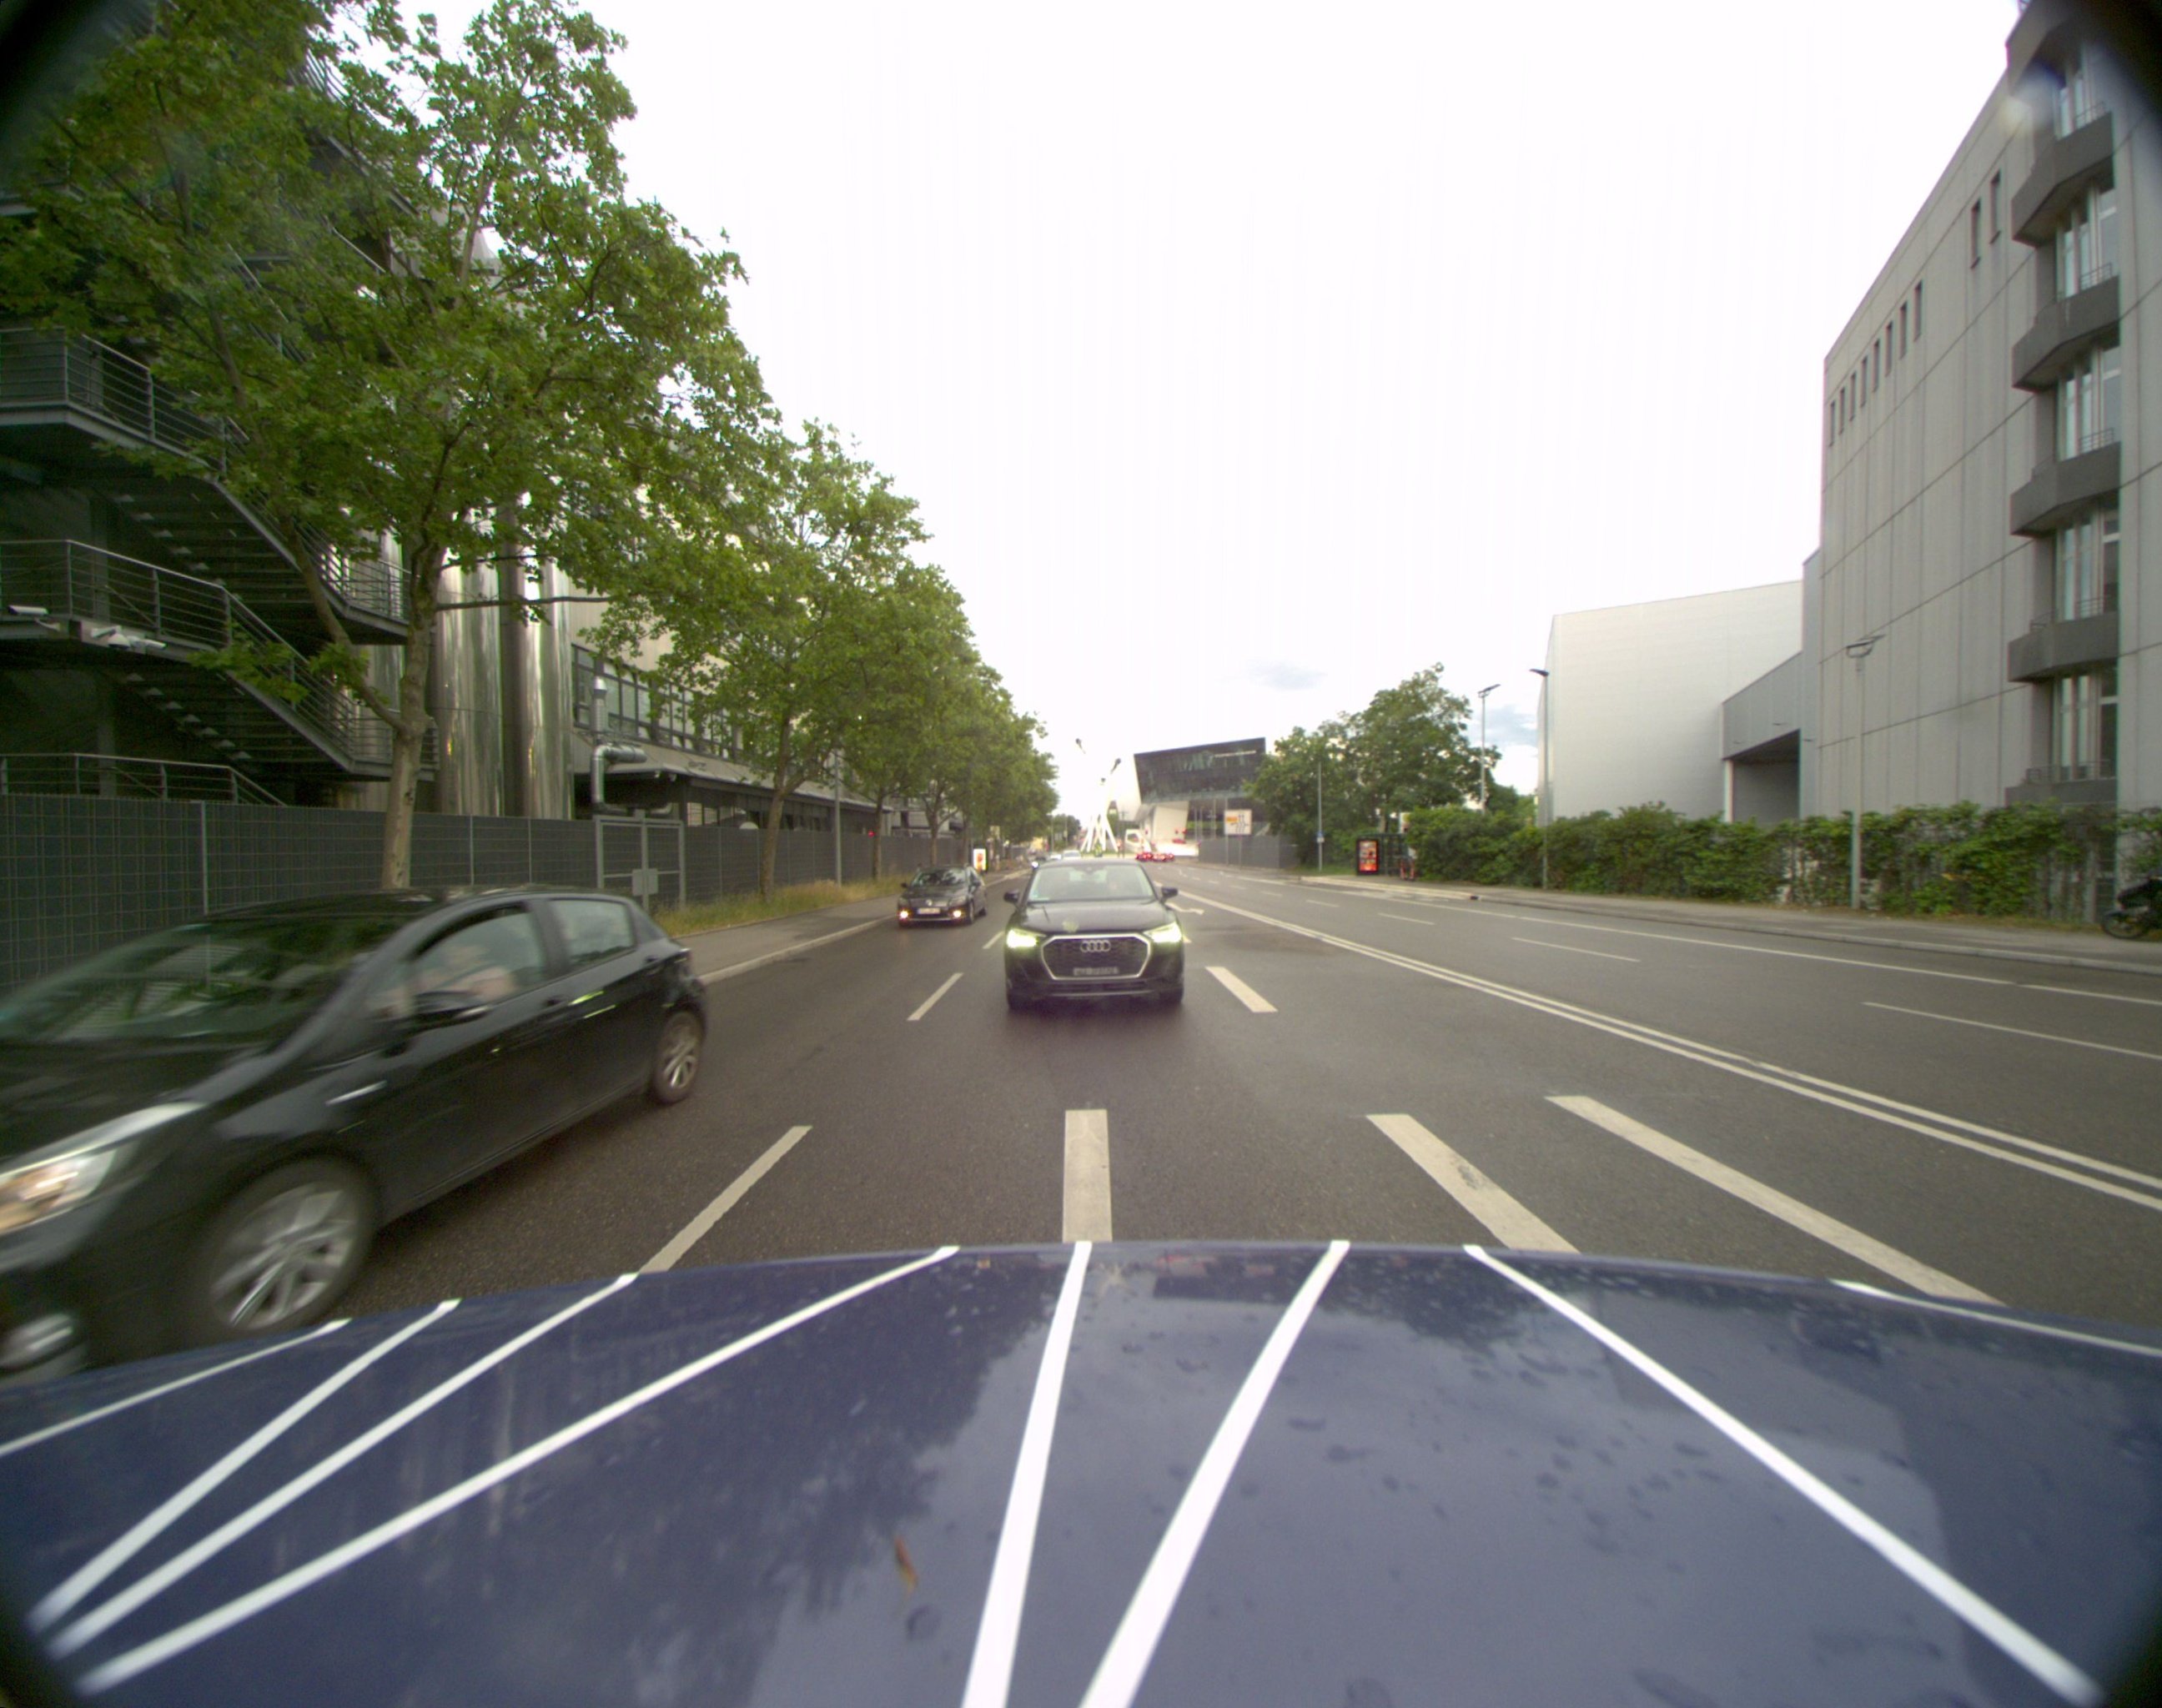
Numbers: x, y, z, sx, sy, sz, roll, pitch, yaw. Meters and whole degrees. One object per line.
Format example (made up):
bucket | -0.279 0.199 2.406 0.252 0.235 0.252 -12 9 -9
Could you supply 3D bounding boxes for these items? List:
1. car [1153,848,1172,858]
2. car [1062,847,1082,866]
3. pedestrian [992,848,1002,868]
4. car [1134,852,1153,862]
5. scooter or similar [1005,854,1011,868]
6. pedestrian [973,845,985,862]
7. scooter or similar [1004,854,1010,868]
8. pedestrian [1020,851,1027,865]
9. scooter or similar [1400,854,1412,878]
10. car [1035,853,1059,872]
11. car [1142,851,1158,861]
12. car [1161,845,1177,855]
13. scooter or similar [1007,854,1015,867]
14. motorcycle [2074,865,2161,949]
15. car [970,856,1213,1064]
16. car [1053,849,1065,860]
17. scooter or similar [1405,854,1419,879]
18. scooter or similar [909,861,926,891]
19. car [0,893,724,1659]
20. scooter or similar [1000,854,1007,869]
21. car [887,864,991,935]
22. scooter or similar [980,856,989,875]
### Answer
car | 12.930 -0.134 120.861 2.267 1.469 4.052 0 1 18
car | -0.891 0.260 76.664 1.951 1.879 4.490 0 0 -1
pedestrian | -7.532 0.362 67.821 0.778 1.700 0.729 -1 1 -1
car | 10.109 0.464 122.653 2.255 1.469 3.884 0 1 18
scooter or similar | -7.064 0.683 73.660 0.437 1.288 1.300 -1 1 3
pedestrian | -8.603 -0.078 64.097 0.933 1.408 0.698 -1 1 -1
scooter or similar | -6.963 0.695 71.532 0.437 1.288 1.300 -1 1 3
pedestrian | -6.807 0.492 90.061 0.723 1.610 0.833 1 2 -1
scooter or similar | 16.449 0.604 38.459 0.389 1.173 1.251 0 1 13
car | -2.963 0.744 66.684 1.951 1.610 4.072 0 0 -1
car | 11.708 0.320 128.402 1.878 1.641 3.857 0 0 16
car | 14.866 -0.631 127.576 1.862 1.641 3.792 0 0 19
scooter or similar | -6.959 0.665 75.627 0.437 1.288 1.367 -1 1 7
motorcycle | 16.718 0.816 11.409 0.786 1.243 2.157 -1 1 0
car | 0.028 0.875 8.892 1.951 1.609 5.276 -2 0 -1
car | -3.694 0.099 126.686 1.951 1.767 4.490 0 0 -1
scooter or similar | 16.146 0.615 37.038 0.379 1.174 1.379 0 1 13
scooter or similar | -7.004 0.925 32.604 0.329 1.262 1.109 -1 1 9
car | -3.438 1.033 3.464 1.881 1.485 4.075 0 0 -3
scooter or similar | -7.130 0.682 70.171 0.437 1.288 1.300 -1 1 3
car | -3.466 1.044 19.450 1.842 1.444 4.785 -2 0 -1
scooter or similar | -6.981 0.822 54.943 0.329 1.301 1.246 -1 1 4
